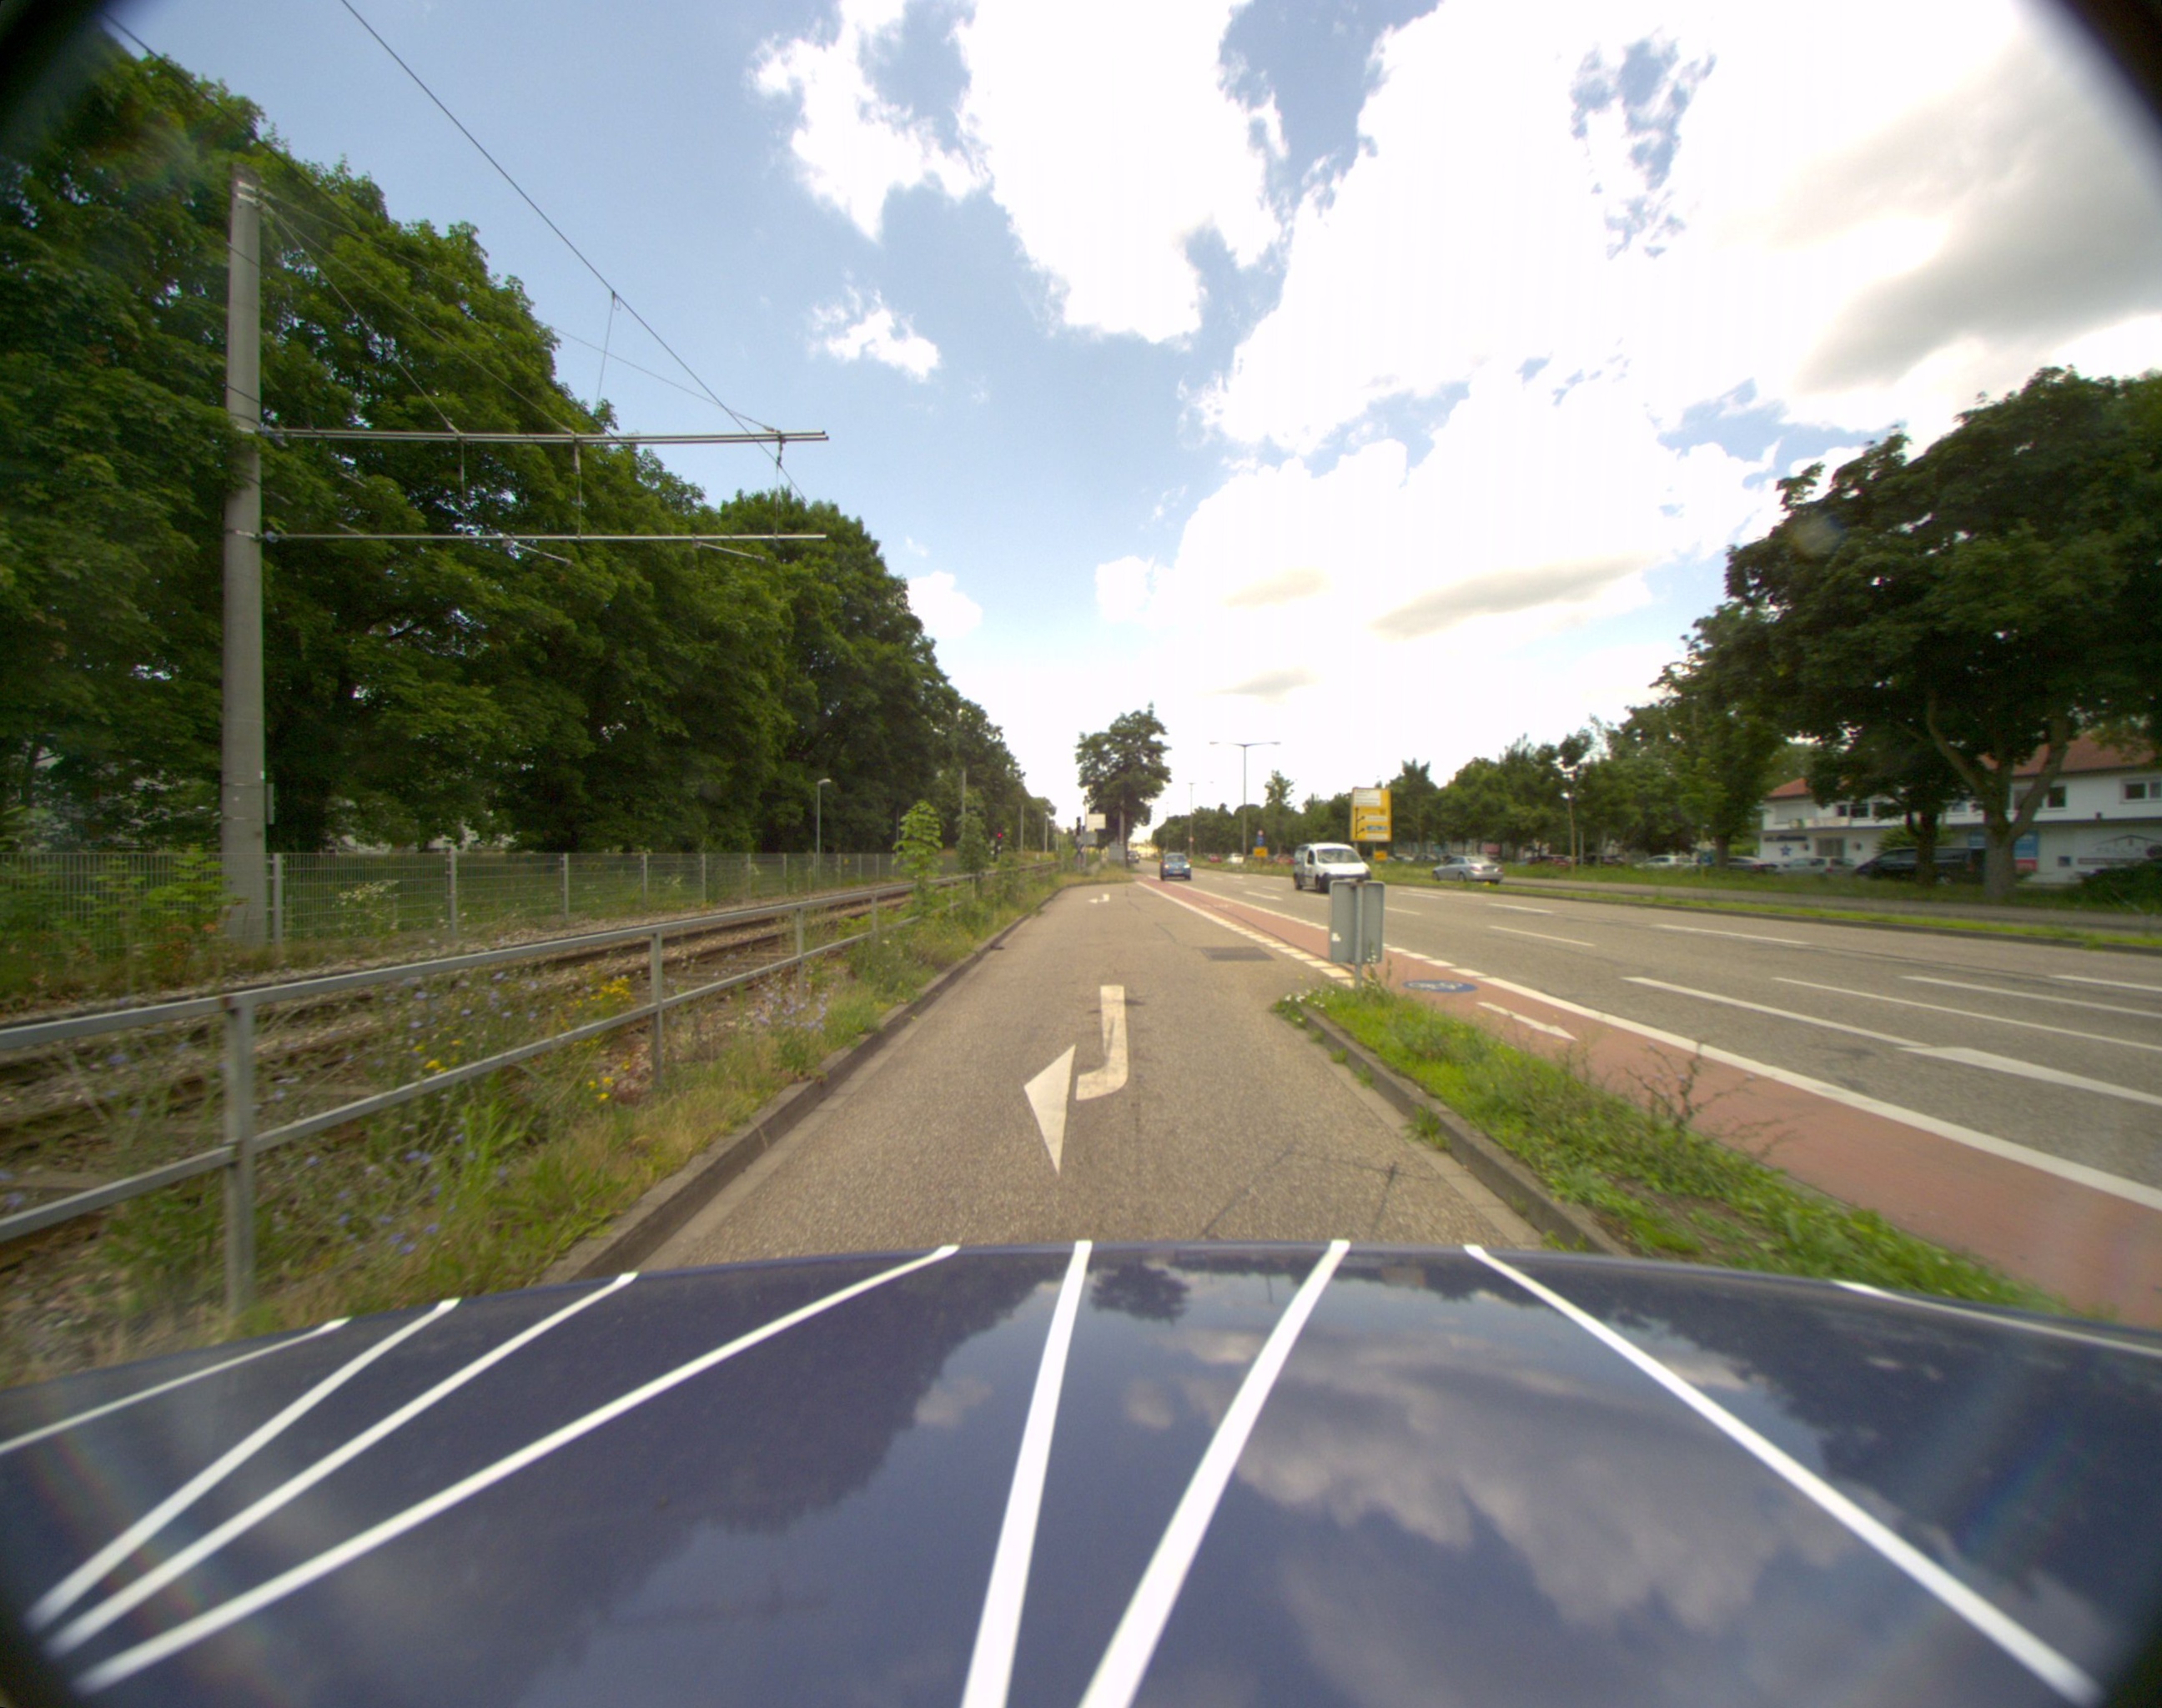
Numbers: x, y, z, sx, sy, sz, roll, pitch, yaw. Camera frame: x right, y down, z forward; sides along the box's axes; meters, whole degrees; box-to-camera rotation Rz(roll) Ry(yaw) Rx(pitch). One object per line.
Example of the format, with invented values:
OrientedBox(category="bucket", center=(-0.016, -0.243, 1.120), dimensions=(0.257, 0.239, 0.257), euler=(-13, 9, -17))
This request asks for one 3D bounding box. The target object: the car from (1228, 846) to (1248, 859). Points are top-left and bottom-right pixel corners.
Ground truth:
OrientedBox(category="car", center=(19.263, -0.205, 93.418), dimensions=(1.615, 1.436, 3.593), euler=(-1, 1, 0))

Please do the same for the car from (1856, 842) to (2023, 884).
OrientedBox(category="car", center=(37.504, 0.368, 33.430), dimensions=(1.887, 1.701, 4.930), euler=(1, 0, 3))

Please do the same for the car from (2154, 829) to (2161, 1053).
OrientedBox(category="car", center=(8.994, 0.585, 3.136), dimensions=(1.817, 1.907, 5.233), euler=(1, 1, 3))

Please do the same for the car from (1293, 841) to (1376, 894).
OrientedBox(category="car", center=(9.169, 0.449, 27.820), dimensions=(1.747, 1.775, 4.156), euler=(-1, 0, 2))

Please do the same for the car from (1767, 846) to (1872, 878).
OrientedBox(category="car", center=(37.965, 0.376, 39.172), dimensions=(1.921, 1.578, 3.667), euler=(1, 0, 3))

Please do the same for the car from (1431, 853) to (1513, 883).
OrientedBox(category="car", center=(19.439, 0.651, 37.998), dimensions=(1.804, 1.423, 4.496), euler=(0, 0, 0))

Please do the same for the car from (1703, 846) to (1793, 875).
OrientedBox(category="car", center=(38.069, 0.363, 43.508), dimensions=(1.762, 1.578, 4.024), euler=(1, 0, 3))

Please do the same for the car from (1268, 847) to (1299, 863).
OrientedBox(category="car", center=(19.592, 0.064, 73.555), dimensions=(1.892, 1.503, 3.999), euler=(-1, 1, 0))

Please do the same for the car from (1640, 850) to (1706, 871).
OrientedBox(category="car", center=(38.013, 0.396, 48.890), dimensions=(1.625, 1.324, 3.477), euler=(1, 0, 3))

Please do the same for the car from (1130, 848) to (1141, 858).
OrientedBox(category="car", center=(9.325, -0.207, 130.174), dimensions=(1.726, 1.604, 4.001), euler=(0, 1, 3))

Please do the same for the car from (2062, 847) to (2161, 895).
OrientedBox(category="car", center=(37.976, 0.585, 26.433), dimensions=(1.812, 1.647, 4.360), euler=(-1, 1, -8))

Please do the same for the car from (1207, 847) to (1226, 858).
OrientedBox(category="car", center=(19.321, -0.223, 108.398), dimensions=(1.998, 1.608, 4.000), euler=(0, 0, 0))

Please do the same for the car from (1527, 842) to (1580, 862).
OrientedBox(category="car", center=(38.466, -0.139, 61.952), dimensions=(1.998, 1.578, 4.024), euler=(1, 0, 3))

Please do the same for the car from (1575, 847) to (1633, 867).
OrientedBox(category="car", center=(38.186, 0.188, 55.589), dimensions=(1.729, 1.403, 3.866), euler=(1, 0, 3))

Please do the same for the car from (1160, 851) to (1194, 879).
OrientedBox(category="car", center=(5.271, 0.581, 42.069), dimensions=(1.604, 1.455, 3.704), euler=(1, 0, 3))
